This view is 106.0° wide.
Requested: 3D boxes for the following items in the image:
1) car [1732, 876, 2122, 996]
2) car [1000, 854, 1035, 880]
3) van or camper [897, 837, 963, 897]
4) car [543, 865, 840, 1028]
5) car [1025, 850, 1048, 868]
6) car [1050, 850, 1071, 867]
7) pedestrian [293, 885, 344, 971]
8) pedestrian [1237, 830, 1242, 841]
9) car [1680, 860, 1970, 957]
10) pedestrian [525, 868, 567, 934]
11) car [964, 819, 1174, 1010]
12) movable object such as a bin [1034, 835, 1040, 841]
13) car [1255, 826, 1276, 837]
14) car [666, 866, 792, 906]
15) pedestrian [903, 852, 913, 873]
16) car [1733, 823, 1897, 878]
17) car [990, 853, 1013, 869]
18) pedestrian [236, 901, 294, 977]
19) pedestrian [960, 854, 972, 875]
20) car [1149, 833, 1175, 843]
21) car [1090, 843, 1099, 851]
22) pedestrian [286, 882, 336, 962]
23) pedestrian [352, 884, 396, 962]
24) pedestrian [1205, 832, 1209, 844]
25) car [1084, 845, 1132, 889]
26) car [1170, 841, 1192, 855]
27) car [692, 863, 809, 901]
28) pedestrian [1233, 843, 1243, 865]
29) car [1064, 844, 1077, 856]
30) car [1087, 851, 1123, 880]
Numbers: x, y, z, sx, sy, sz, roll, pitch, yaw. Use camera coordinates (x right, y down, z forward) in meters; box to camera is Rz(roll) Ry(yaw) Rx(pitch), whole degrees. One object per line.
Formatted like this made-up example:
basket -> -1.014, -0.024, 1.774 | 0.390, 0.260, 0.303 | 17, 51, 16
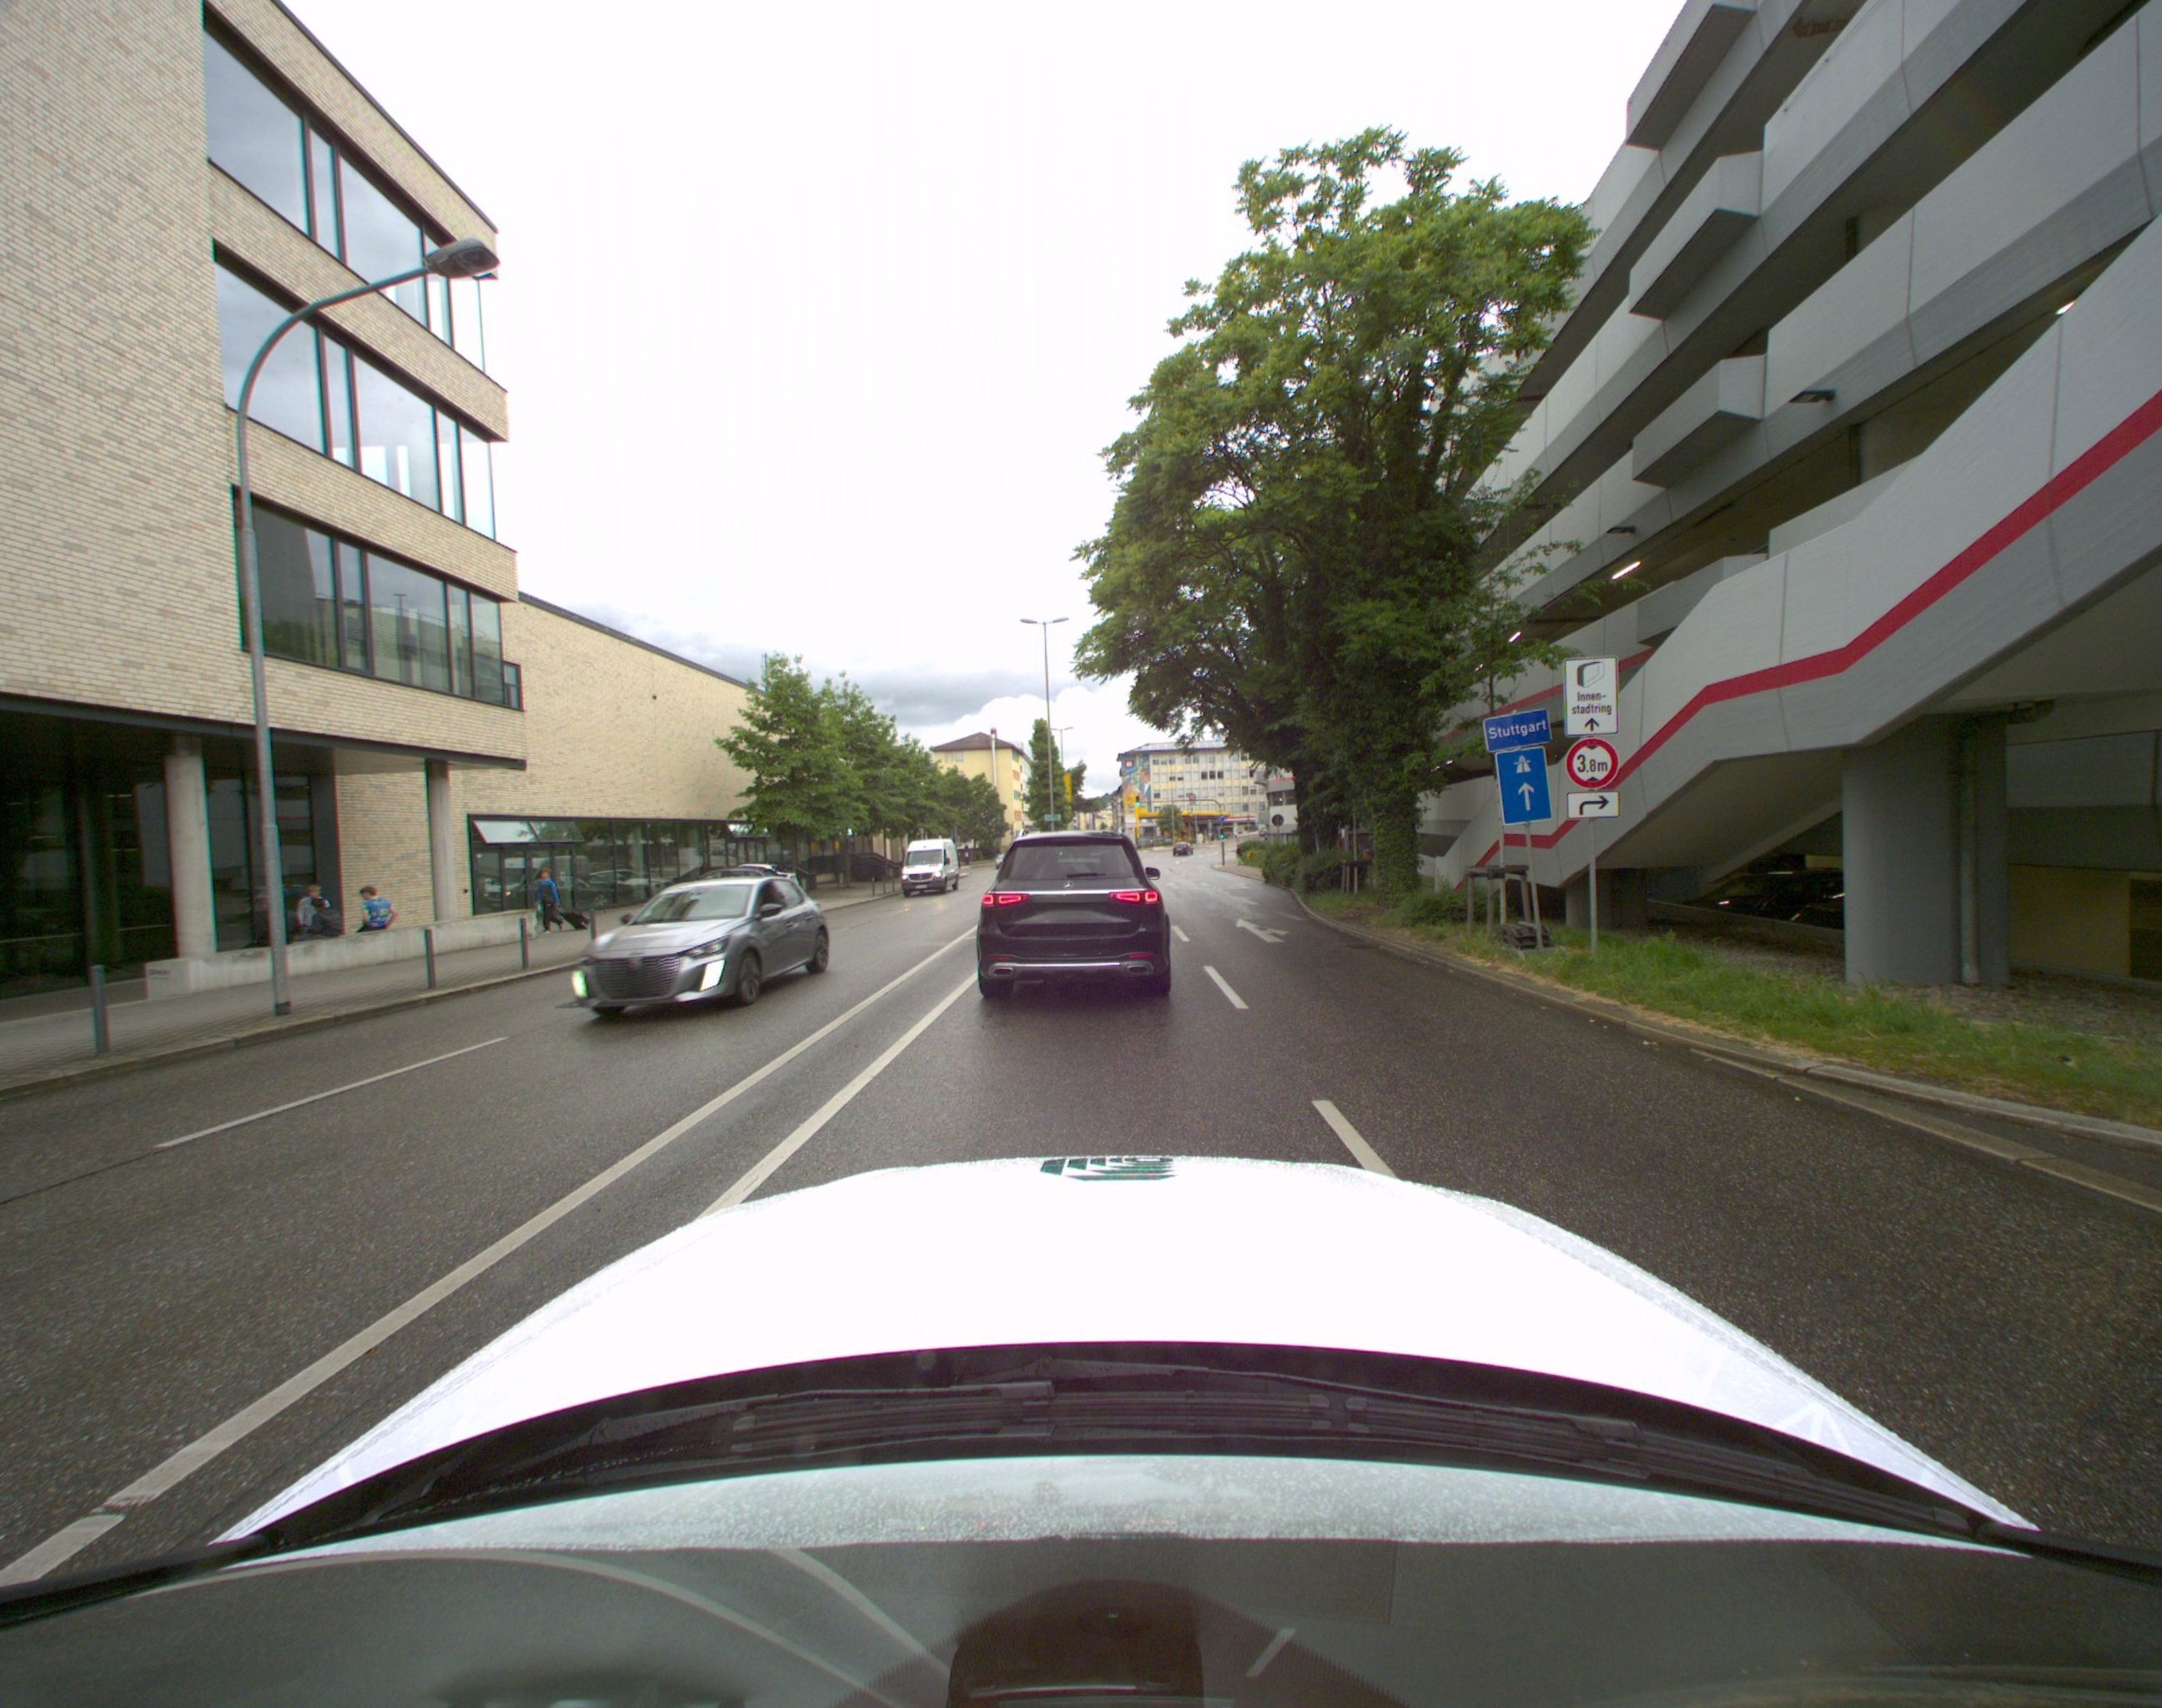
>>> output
car -> 12.943, 1.230, 12.713 | 3.966, 1.624, 1.842 | -1, 0, 6
car -> -4.032, 0.799, 52.317 | 1.877, 1.498, 4.560 | -4, 0, -1
van or camper -> -7.282, 0.595, 39.816 | 2.096, 2.582, 5.904 | -4, 0, -1
car -> -4.494, 0.959, 10.139 | 1.735, 1.470, 3.882 | -4, 0, 0
car -> -4.115, 0.466, 75.770 | 1.806, 1.462, 4.286 | -4, 0, -1
car -> -2.396, 0.458, 96.616 | 1.882, 1.811, 4.581 | -4, 0, 5
pedestrian -> -13.526, 1.304, 14.455 | 0.448, 1.475, 0.463 | 0, -1, -4
pedestrian -> 26.495, -3.110, 136.411 | 0.521, 1.727, 0.693 | -2, 1, 28
car -> 13.907, 0.996, 15.450 | 3.713, 1.540, 1.815 | -1, 3, 7
pedestrian -> -14.290, 1.243, 21.755 | 0.632, 1.714, 0.705 | 0, -1, 4
car -> -0.051, 0.590, 9.720 | 1.986, 1.800, 4.001 | 0, -1, 2
movable object such as a bin -> -7.580, -2.732, 141.515 | 0.906, 1.038, 0.844 | 0, -1, 2
car -> 31.203, -3.830, 137.950 | 1.974, 1.705, 4.026 | -2, 1, 35
car -> -14.073, 1.253, 32.770 | 4.169, 1.495, 1.997 | 0, -1, -5
pedestrian -> -13.987, 0.649, 65.670 | 0.641, 1.665, 1.017 | 0, -1, -4
car -> 26.217, -0.130, 29.229 | 3.958, 1.783, 1.823 | -2, 0, 14
car -> -7.636, 0.631, 78.360 | 1.792, 1.495, 3.802 | 0, -1, -1
pedestrian -> -13.556, 1.407, 13.533 | 0.546, 1.215, 0.422 | 0, -1, 4
pedestrian -> -9.743, 0.879, 68.958 | 0.948, 1.704, 0.709 | 0, -1, -16
car -> 12.790, -2.527, 128.482 | 1.747, 1.376, 3.952 | -4, 1, -42
car -> 3.381, -1.674, 197.841 | 1.985, 2.014, 4.003 | 0, -1, 3
pedestrian -> -14.612, 1.274, 15.466 | 0.440, 1.475, 0.528 | 0, -1, -3
pedestrian -> -13.642, 1.323, 15.723 | 0.448, 1.475, 0.463 | 0, -1, -4
pedestrian -> 18.601, -2.391, 120.085 | 0.570, 1.697, 0.631 | 0, -1, 3
car -> 1.178, 0.549, 35.755 | 1.986, 1.800, 4.001 | 0, -1, 2
car -> 11.237, -0.645, 91.366 | 1.782, 1.525, 4.074 | 0, 1, 17
car -> -14.170, 1.182, 35.078 | 4.158, 1.547, 2.002 | 0, -1, 3
pedestrian -> 12.590, -0.007, 65.225 | 0.639, 1.710, 0.474 | -2, -1, 38
car -> -1.676, -0.578, 129.033 | 1.862, 1.839, 3.819 | 0, -1, 0
car -> 1.340, 0.628, 45.040 | 1.900, 1.501, 4.001 | 0, 0, 2
